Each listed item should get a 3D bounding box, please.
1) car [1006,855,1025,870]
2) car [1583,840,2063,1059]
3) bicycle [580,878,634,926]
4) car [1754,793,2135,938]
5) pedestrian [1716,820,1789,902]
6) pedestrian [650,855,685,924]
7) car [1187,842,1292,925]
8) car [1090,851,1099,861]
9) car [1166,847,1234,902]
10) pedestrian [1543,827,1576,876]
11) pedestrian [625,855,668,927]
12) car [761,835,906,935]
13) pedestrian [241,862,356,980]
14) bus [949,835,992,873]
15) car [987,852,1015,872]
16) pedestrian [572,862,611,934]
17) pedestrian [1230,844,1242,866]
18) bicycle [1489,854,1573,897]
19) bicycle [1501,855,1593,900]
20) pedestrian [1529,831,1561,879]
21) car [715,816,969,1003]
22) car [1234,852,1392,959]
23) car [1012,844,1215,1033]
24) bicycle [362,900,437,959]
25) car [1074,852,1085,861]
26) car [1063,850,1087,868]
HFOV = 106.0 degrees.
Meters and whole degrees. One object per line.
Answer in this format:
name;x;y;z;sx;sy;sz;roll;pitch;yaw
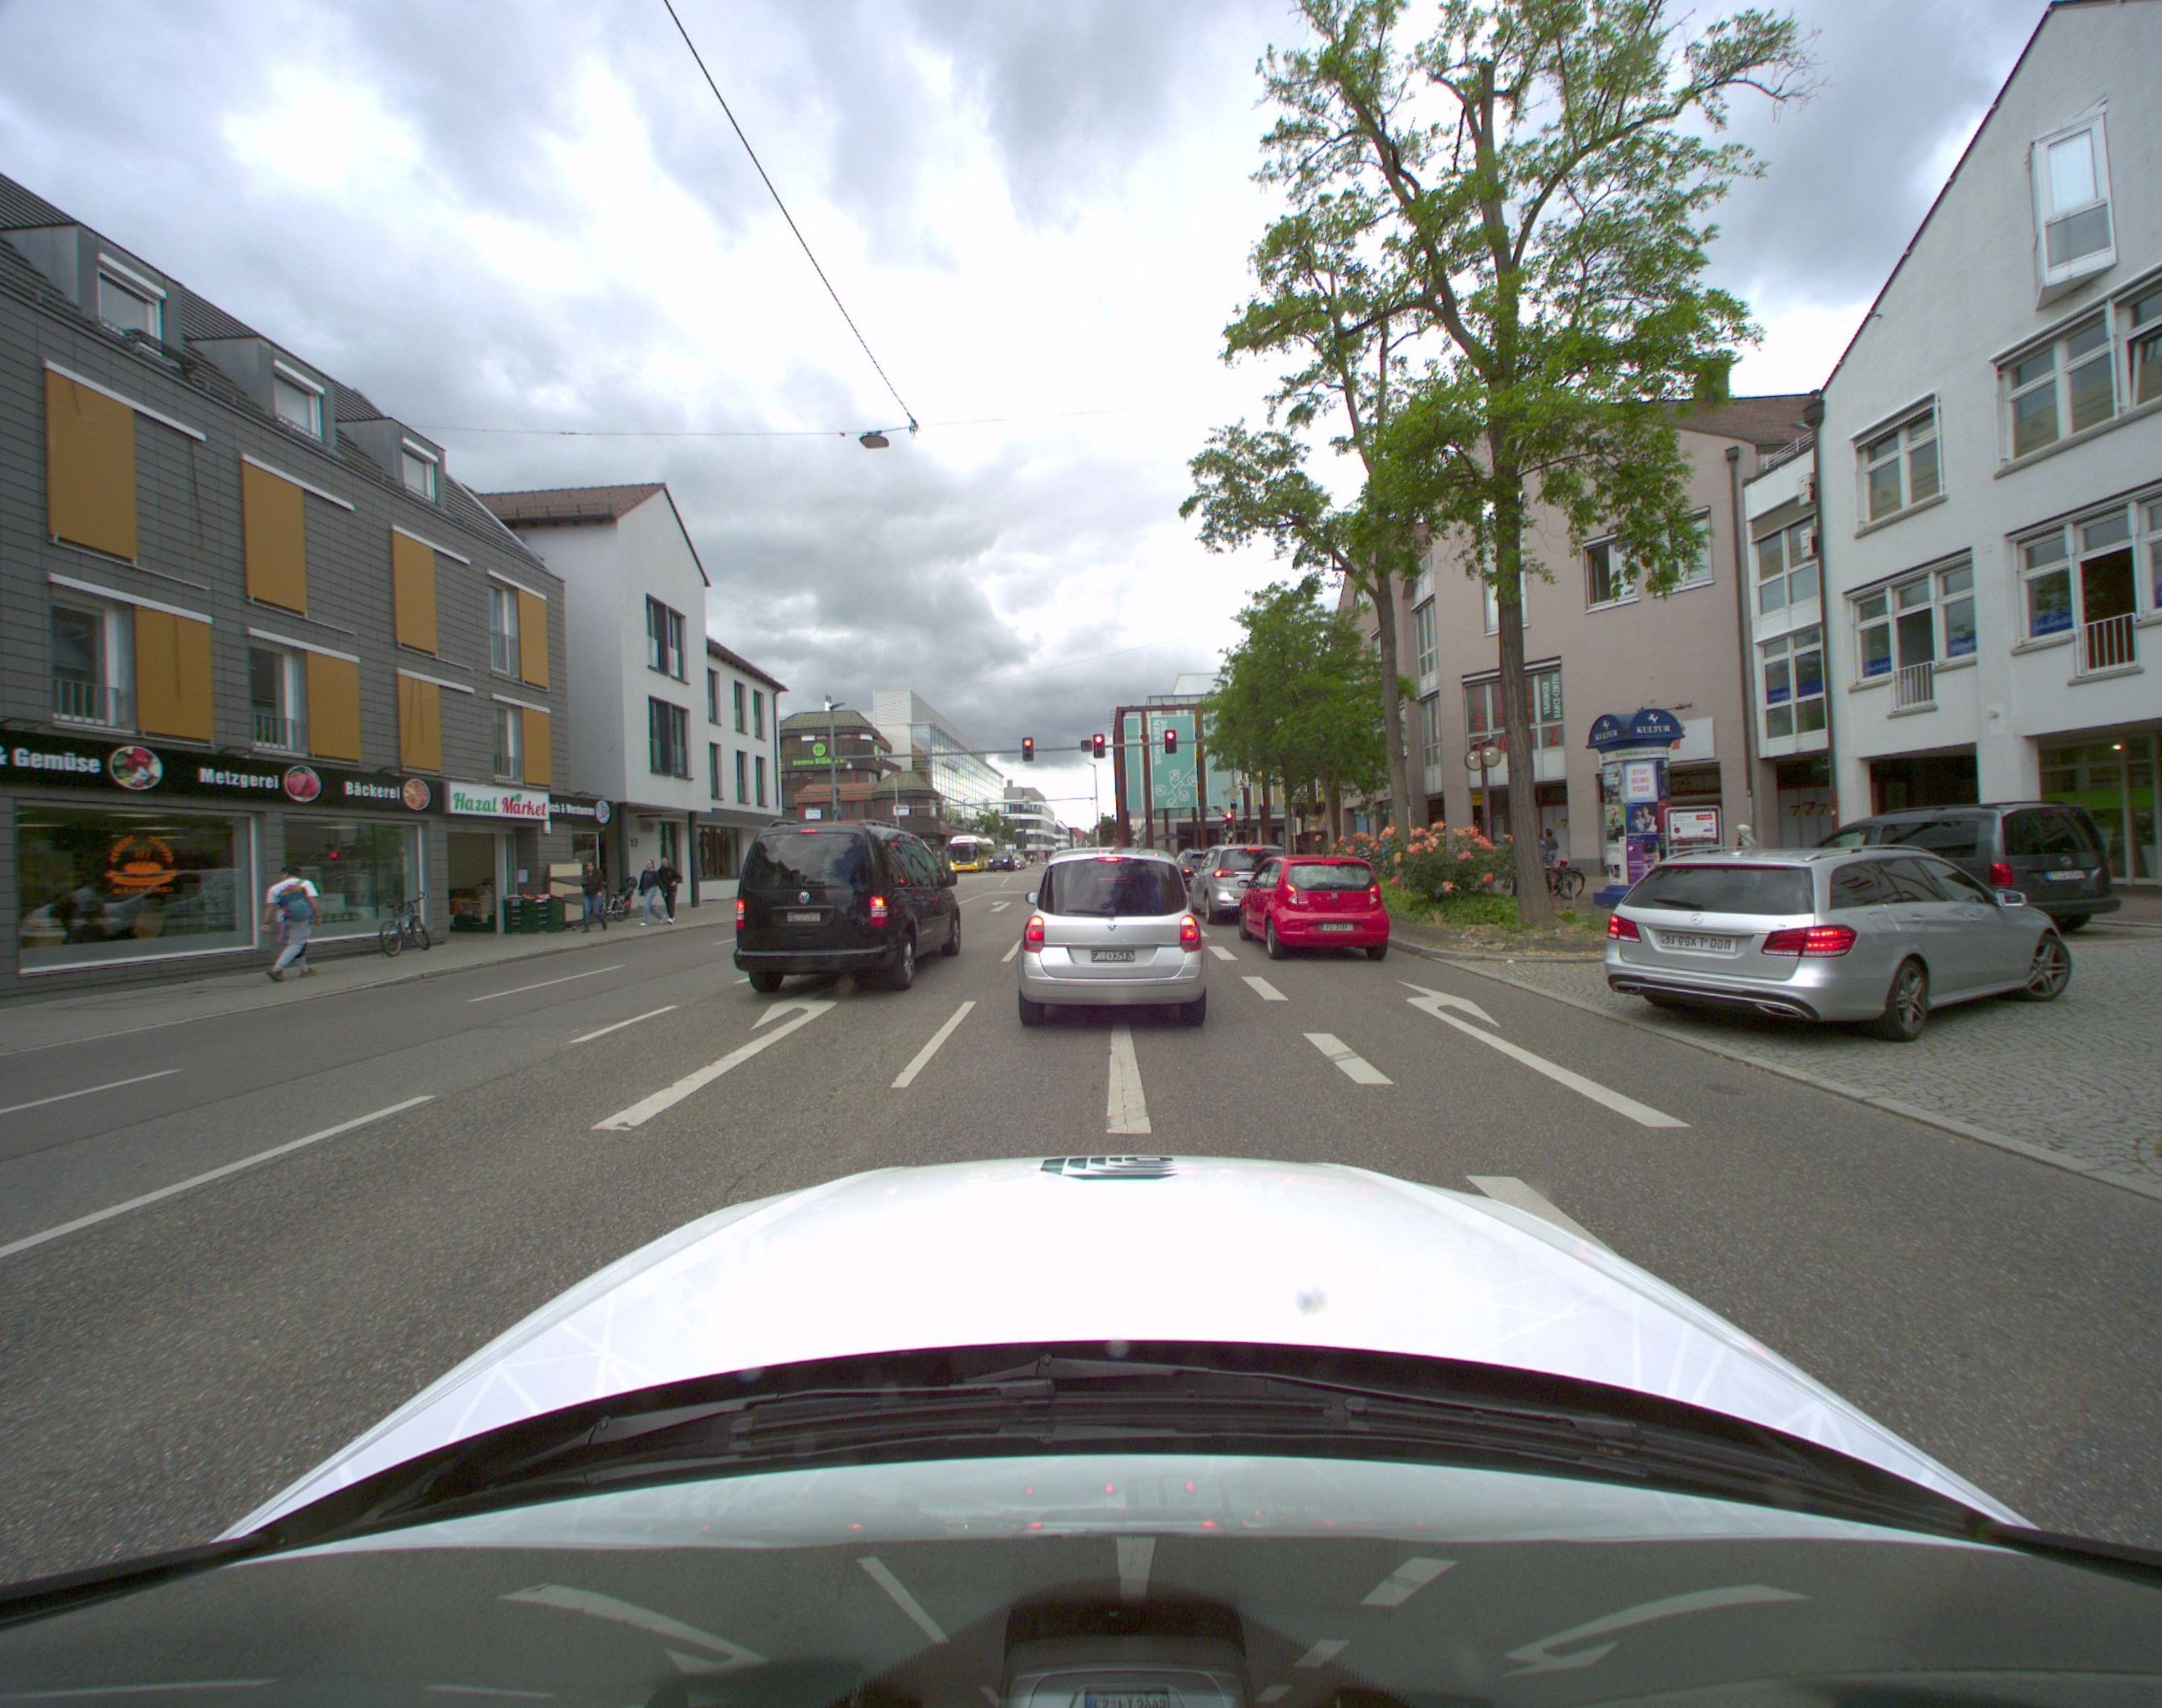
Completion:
car;-6.439;0.812;80.261;1.550;1.392;3.288;-2;0;0
car;6.822;0.638;7.423;4.379;1.448;1.805;-1;1;-27
bicycle;-12.788;1.268;22.027;0.385;1.186;1.825;-2;0;-1
car;13.101;0.140;12.783;1.633;1.831;3.963;-3;0;-3
pedestrian;14.276;0.143;17.333;0.786;1.659;0.819;-4;0;1
pedestrian;-10.912;0.928;21.511;0.568;1.775;0.645;-2;0;-6
car;3.374;0.579;18.032;1.581;1.634;3.916;0;0;0
car;2.861;0.435;172.796;1.987;1.949;4.951;-2;0;1
car;3.610;0.583;25.285;1.581;1.595;3.868;0;0;0
pedestrian;15.560;-0.090;26.508;0.665;1.563;0.618;-2;0;-20
pedestrian;-11.109;0.932;20.843;0.680;1.790;0.648;-2;0;-2
car;-5.512;0.622;18.910;1.990;1.888;5.151;-3;0;-4
pedestrian;-11.851;0.979;12.363;0.751;1.705;0.981;1;0;1
bus;-10.117;-0.021;75.426;2.678;3.261;8.653;-2;0;1
car;-7.126;0.660;72.693;1.987;1.706;4.065;-2;0;0
pedestrian;-11.598;1.033;19.303;0.654;1.650;0.555;-2;0;-22
pedestrian;11.498;0.065;60.370;0.652;1.650;0.557;-2;0;-13
bicycle;11.200;0.534;20.299;1.760;0.997;0.447;-2;0;5
bicycle;11.283;0.567;19.742;1.892;0.997;0.468;-2;0;5
pedestrian;14.956;0.037;26.249;0.611;1.515;0.618;-2;0;-20
car;-2.710;0.548;10.463;1.738;1.855;4.636;-1;0;2
car;3.435;0.691;12.625;1.580;1.443;3.350;0;0;2
car;0.313;0.683;8.366;1.634;1.527;3.395;-1;0;1
bicycle;-12.656;1.379;15.165;0.325;0.954;1.478;-2;0;-9
car;-0.254;0.460;157.540;1.793;1.540;4.068;-2;0;3
car;-0.618;0.492;84.428;1.907;1.677;4.250;-2;0;6
